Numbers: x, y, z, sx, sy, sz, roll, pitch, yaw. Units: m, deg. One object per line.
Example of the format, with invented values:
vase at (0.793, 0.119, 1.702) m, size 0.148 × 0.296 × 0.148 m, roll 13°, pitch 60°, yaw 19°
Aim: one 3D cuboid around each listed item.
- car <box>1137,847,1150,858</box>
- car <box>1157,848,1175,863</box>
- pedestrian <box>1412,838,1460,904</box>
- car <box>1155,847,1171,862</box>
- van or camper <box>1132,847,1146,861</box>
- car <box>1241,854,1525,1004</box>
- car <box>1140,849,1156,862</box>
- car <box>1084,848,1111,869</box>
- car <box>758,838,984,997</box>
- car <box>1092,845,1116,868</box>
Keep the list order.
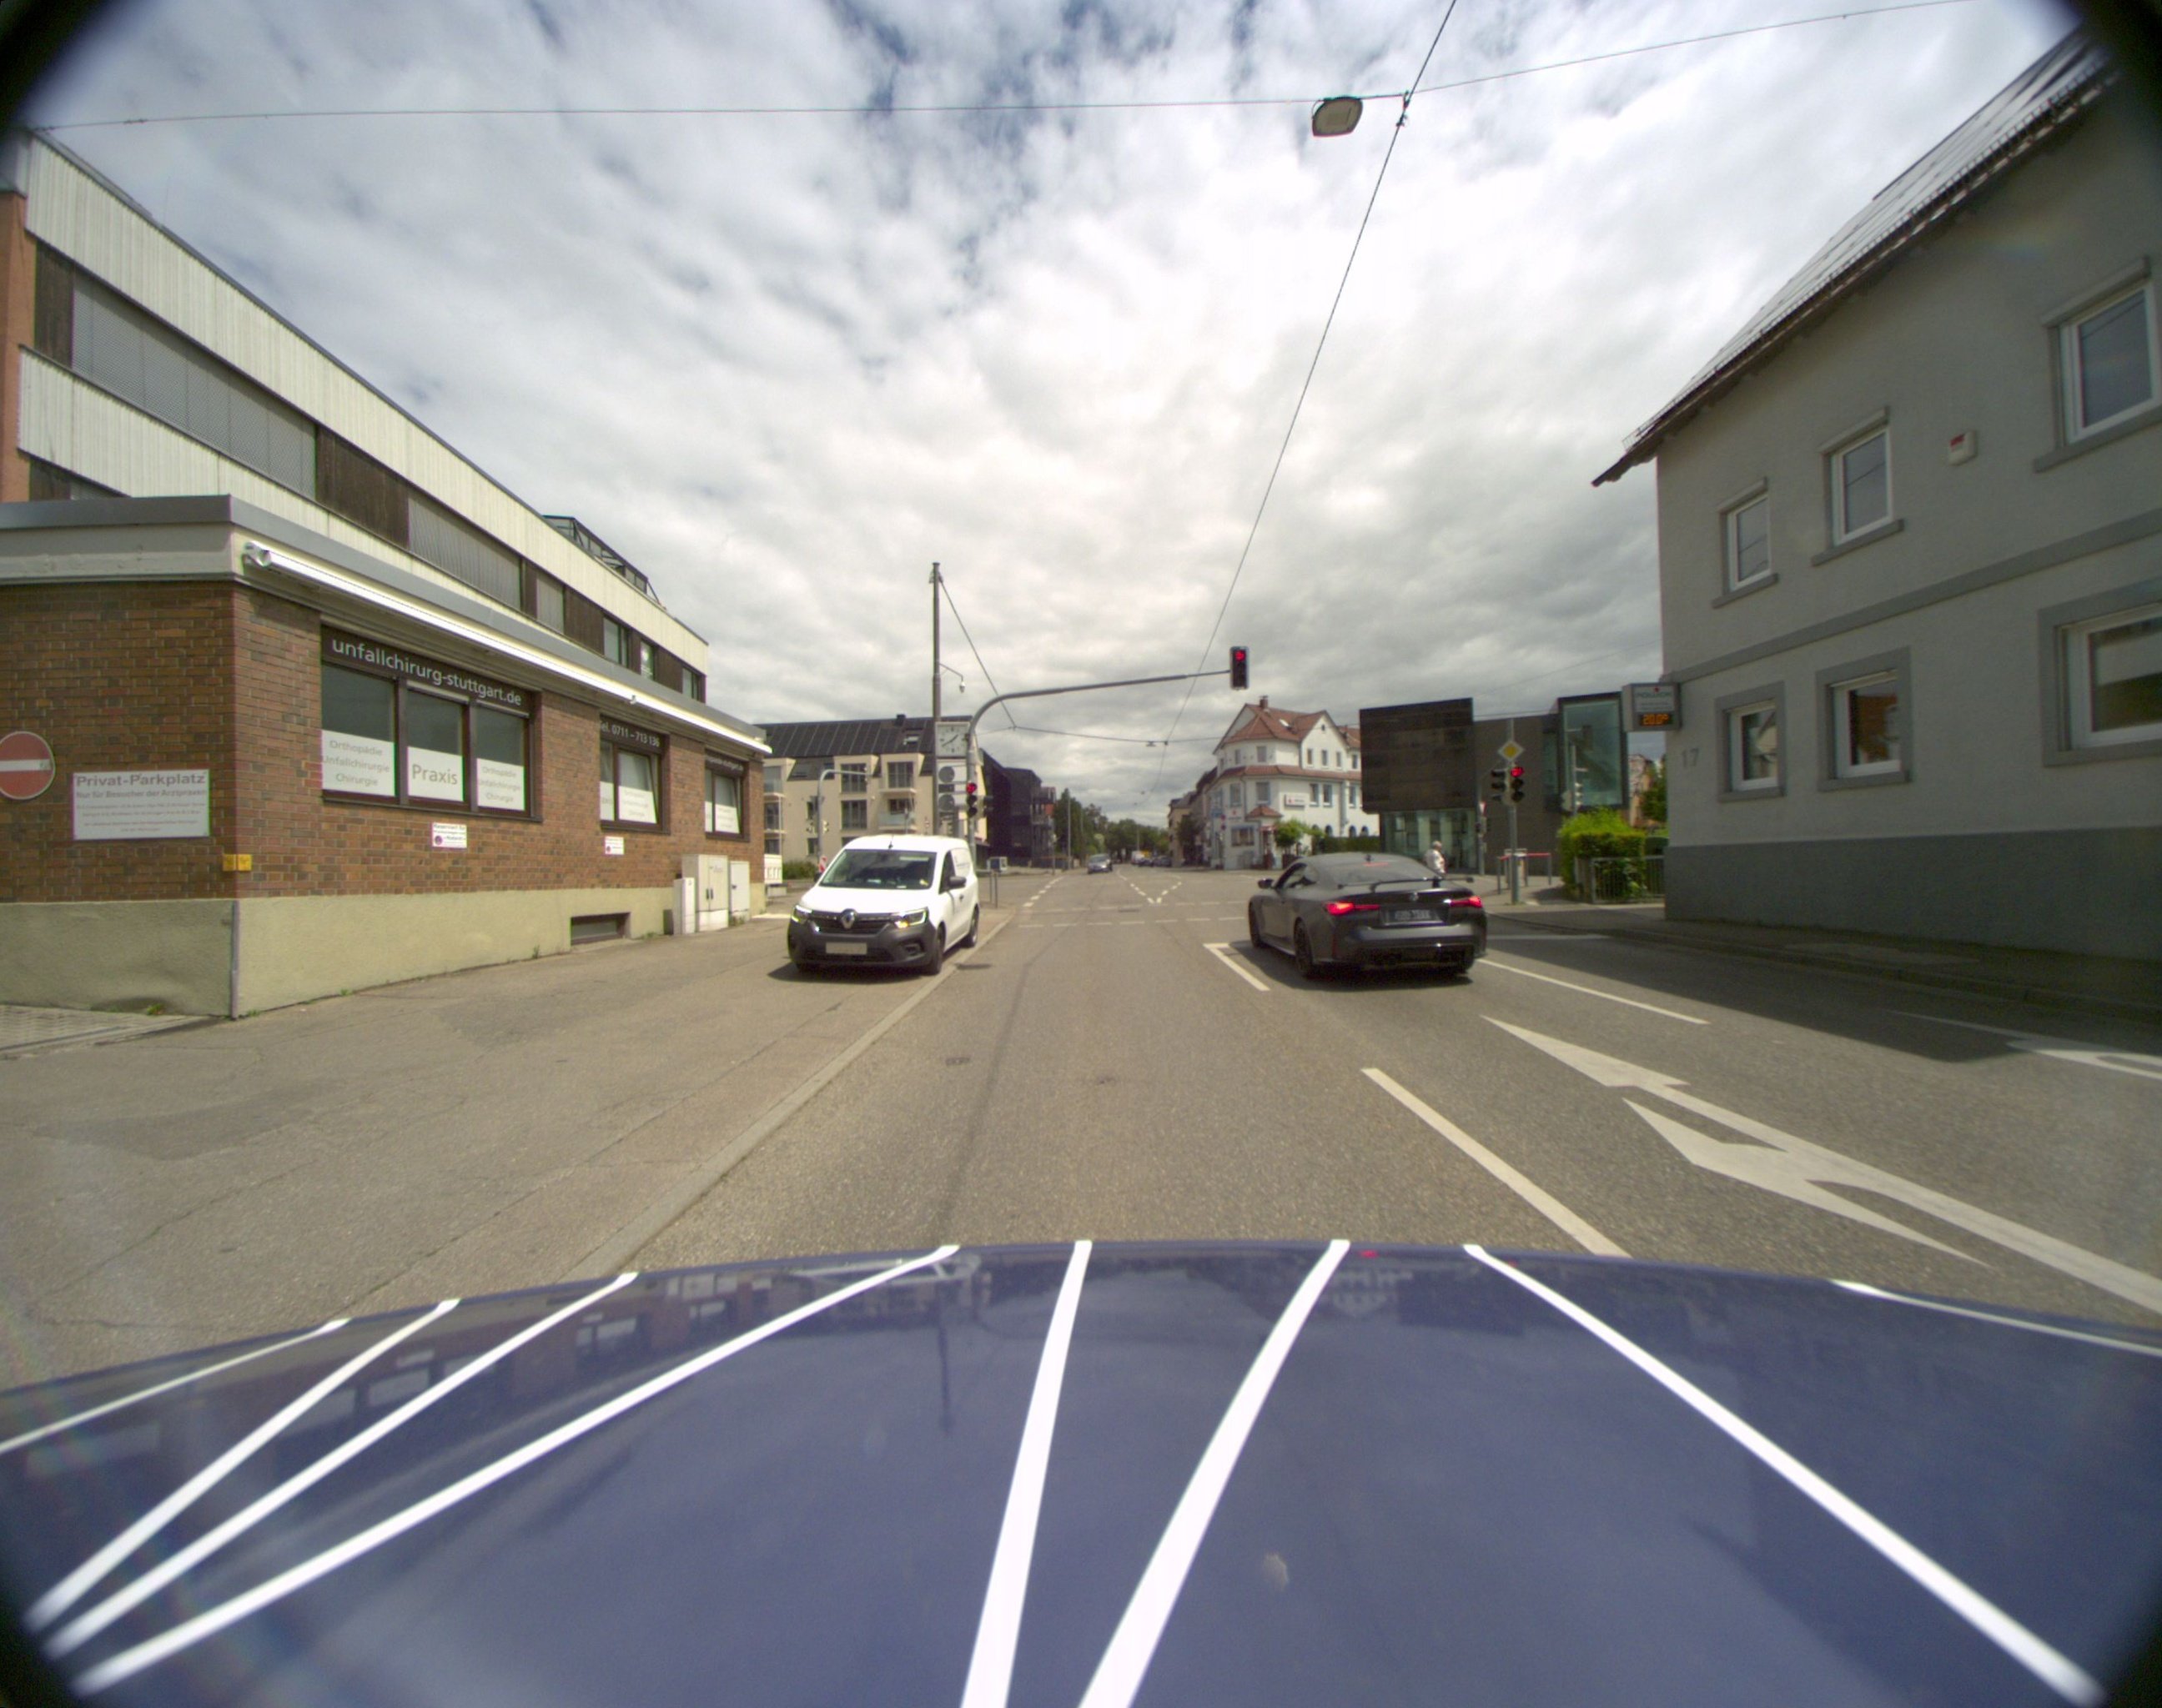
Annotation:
car at (10.249, -0.251, 124.620) m, size 1.820 × 1.801 × 4.419 m, roll 0°, pitch 0°, yaw 1°
car at (11.642, 0.225, 104.345) m, size 1.998 × 2.002 × 4.000 m, roll -1°, pitch 0°, yaw 1°
pedestrian at (8.934, 0.421, 19.147) m, size 0.872 × 1.628 × 0.837 m, roll -1°, pitch 1°, yaw 10°
car at (11.776, 0.047, 109.537) m, size 1.998 × 2.002 × 4.000 m, roll -1°, pitch 0°, yaw 2°
van or camper at (11.096, 0.076, 146.470) m, size 2.113 × 2.571 × 5.644 m, roll 1°, pitch 0°, yaw -2°
car at (3.492, 0.751, 9.876) m, size 1.998 × 1.448 × 4.617 m, roll -1°, pitch 1°, yaw 2°
car at (8.578, 0.198, 98.007) m, size 1.998 × 1.521 × 4.001 m, roll 2°, pitch 1°, yaw 4°
car at (1.398, 0.389, 63.291) m, size 1.998 × 1.674 × 4.001 m, roll -1°, pitch 0°, yaw 4°
car at (-2.679, 0.694, 10.899) m, size 1.916 × 1.784 × 4.490 m, roll 1°, pitch 1°, yaw 1°
car at (2.135, 0.182, 69.165) m, size 1.998 × 2.002 × 4.001 m, roll -1°, pitch 0°, yaw 3°
